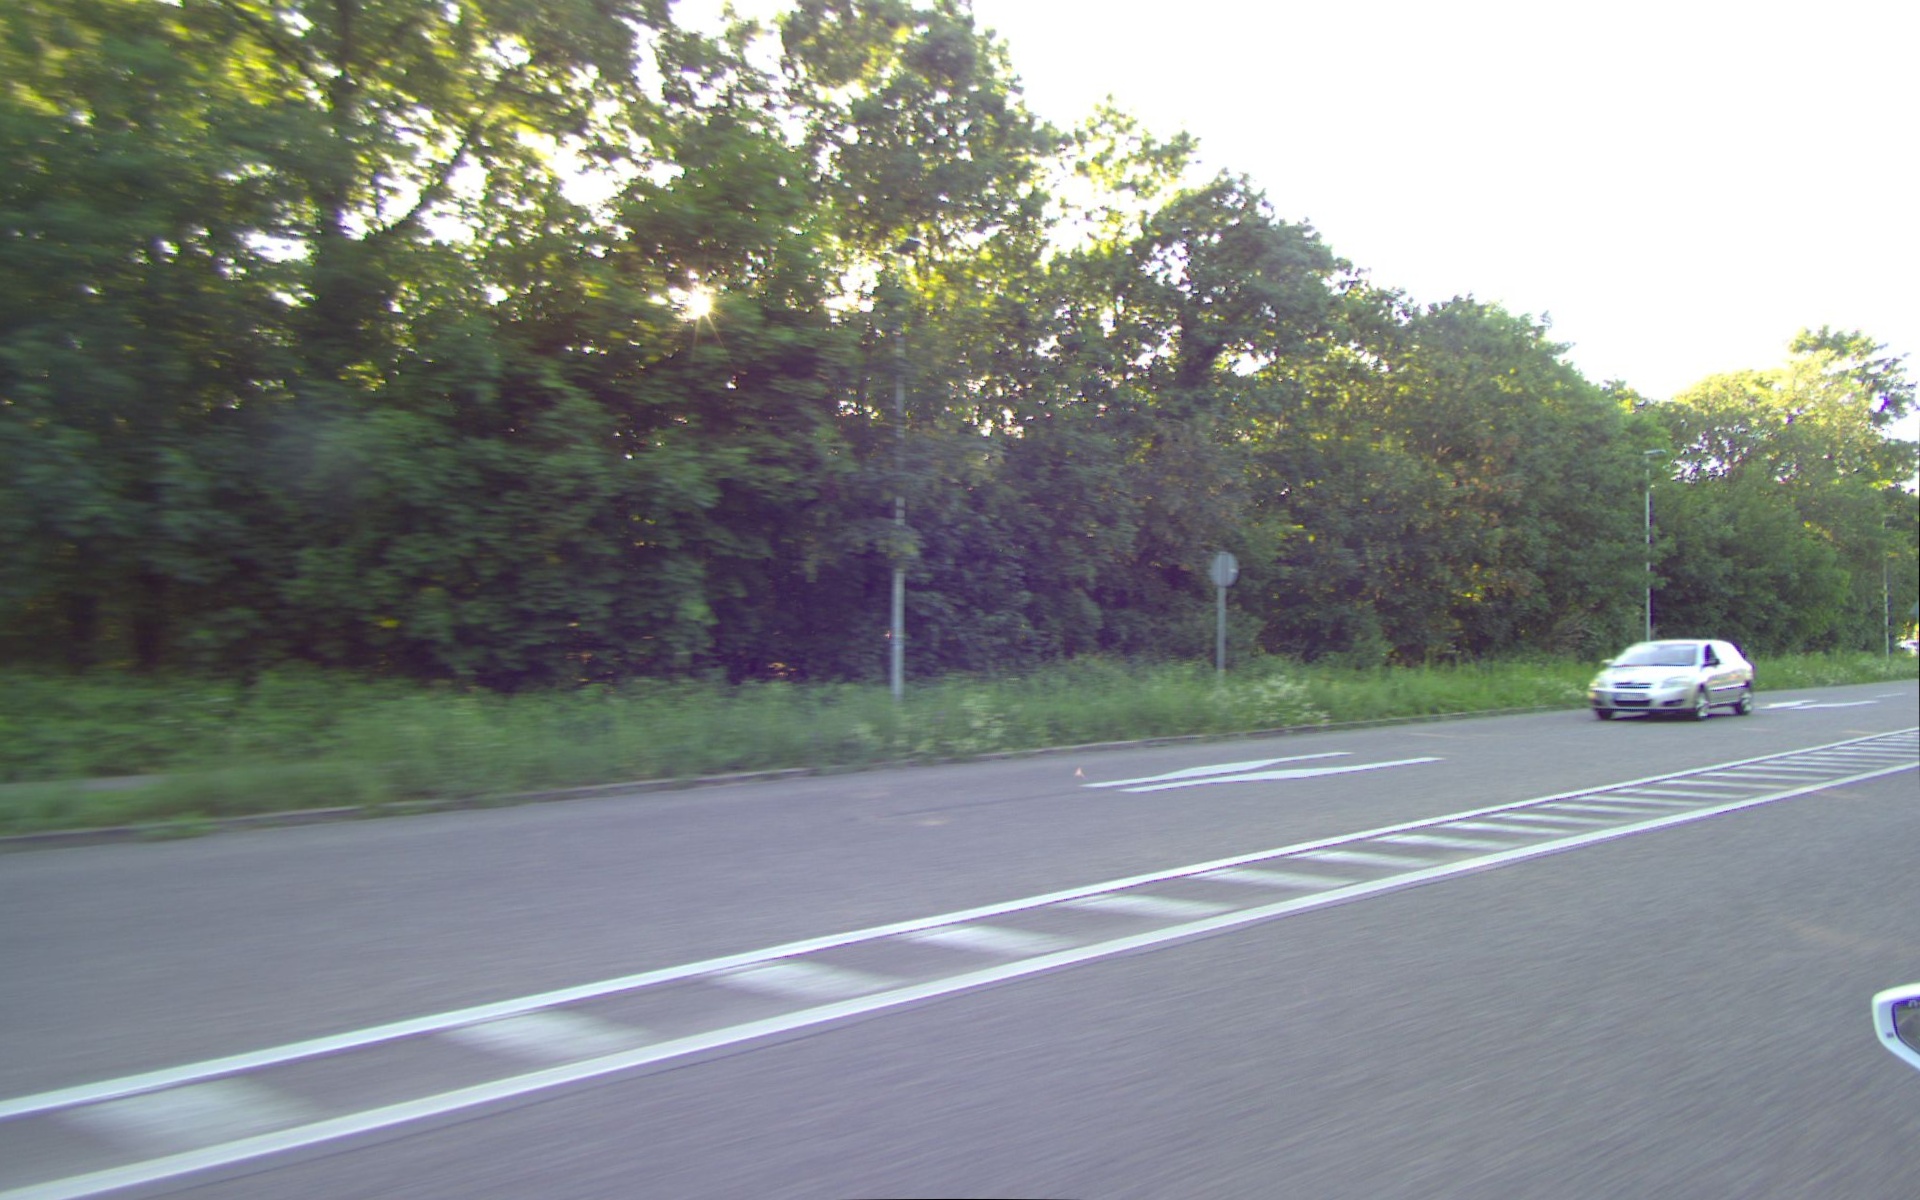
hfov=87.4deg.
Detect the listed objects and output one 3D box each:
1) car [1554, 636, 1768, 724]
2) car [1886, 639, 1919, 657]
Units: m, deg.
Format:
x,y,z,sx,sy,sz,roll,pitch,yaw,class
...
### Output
x,y,z,sx,sy,sz,roll,pitch,yaw,class
13.233,1.452,18.880,4.435,1.474,1.818,2,-4,-35,car
79.161,3.955,82.890,3.734,1.407,1.924,-1,-2,32,car
